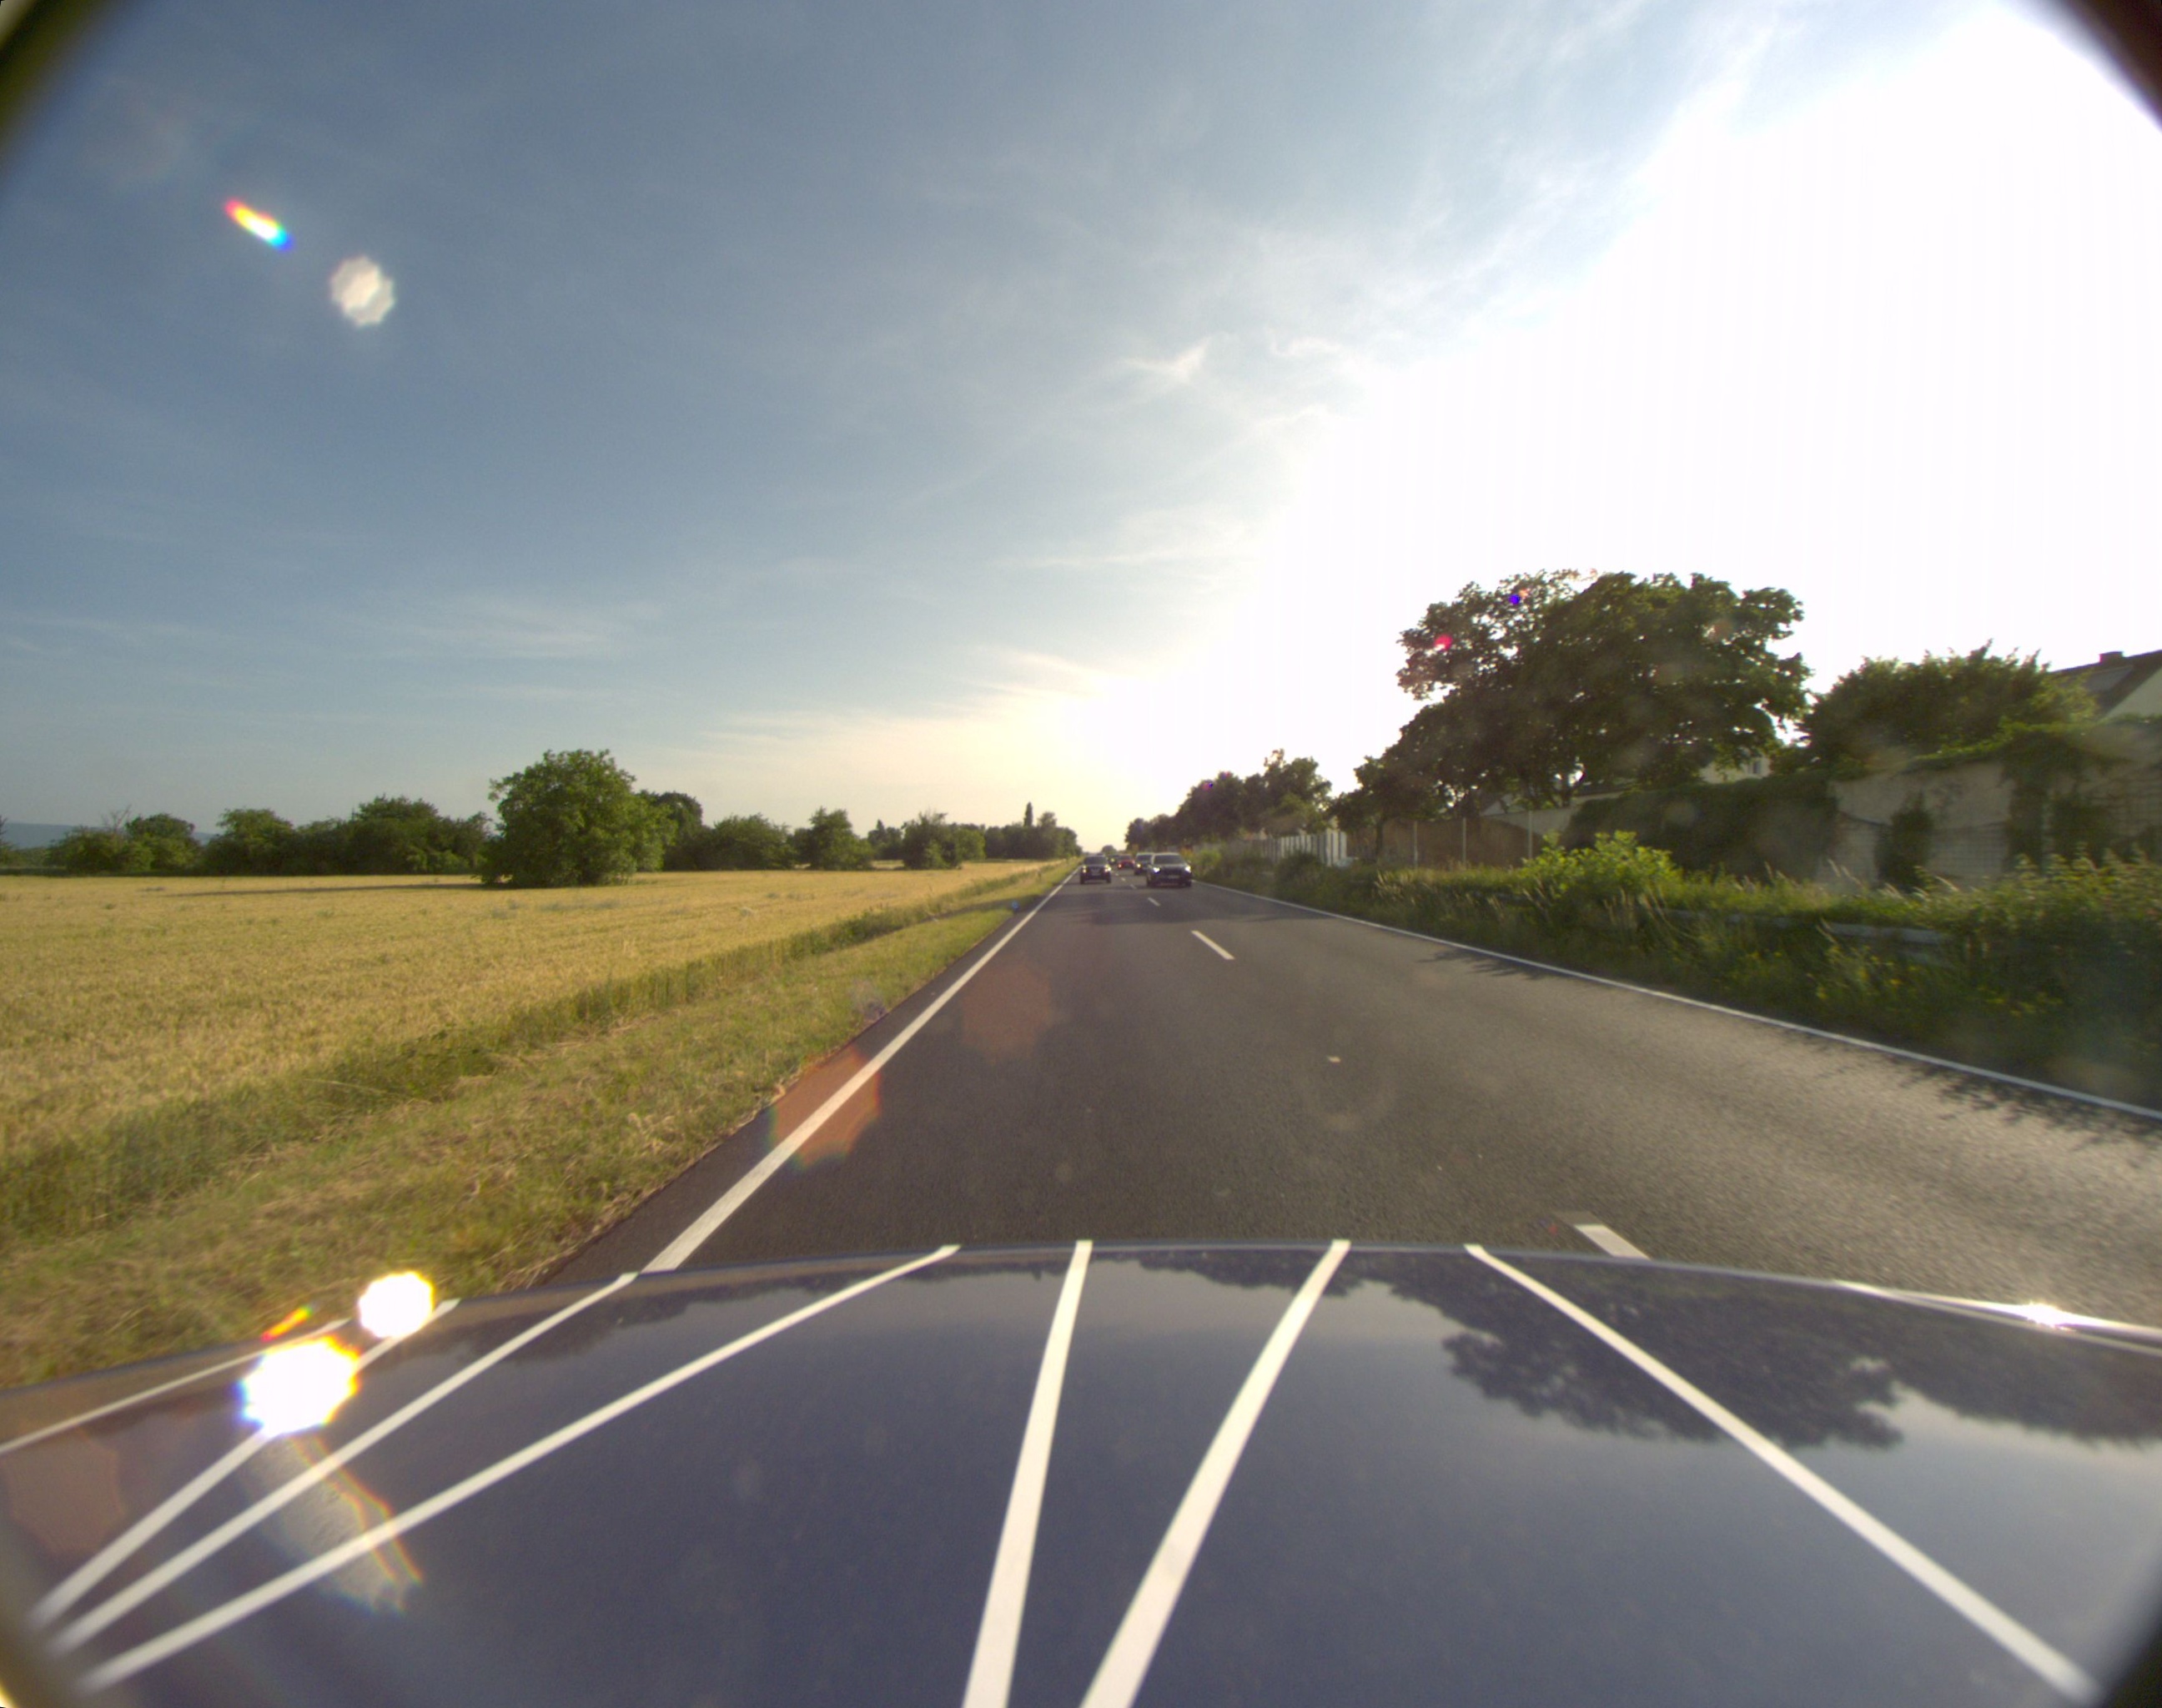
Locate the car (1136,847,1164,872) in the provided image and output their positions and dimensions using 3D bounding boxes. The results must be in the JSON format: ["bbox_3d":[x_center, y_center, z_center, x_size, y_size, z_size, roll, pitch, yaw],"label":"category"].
[{"bbox_3d":[5.193,0.394,57.406,1.822,1.724,4.000,-2,1,2],"label":"car"}]

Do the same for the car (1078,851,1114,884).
[{"bbox_3d":[0.837,0.703,42.178,1.822,1.661,4.000,-2,1,1],"label":"car"}]

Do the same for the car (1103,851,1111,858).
[{"bbox_3d":[6.709,0.112,193.356,1.854,1.641,3.999,-2,1,1],"label":"car"}]

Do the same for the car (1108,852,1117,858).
[{"bbox_3d":[7.119,0.218,172.208,1.693,1.397,4.000,-2,1,1],"label":"car"}]

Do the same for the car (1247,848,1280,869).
[{"bbox_3d":[16.119,0.378,67.270,1.942,1.718,3.999,-2,1,1],"label":"car"}]

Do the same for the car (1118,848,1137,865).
[{"bbox_3d":[4.924,0.271,80.290,1.822,1.661,4.000,-2,1,2],"label":"car"}]

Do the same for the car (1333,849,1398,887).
[{"bbox_3d":[15.171,0.715,40.791,1.839,1.844,4.365,-2,1,0],"label":"car"}]

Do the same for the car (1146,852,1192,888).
[{"bbox_3d":[4.191,0.717,36.690,1.821,1.516,4.246,-2,1,2],"label":"car"}]

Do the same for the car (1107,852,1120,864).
[{"bbox_3d":[4.564,0.543,107.616,1.700,1.456,3.646,-2,1,1],"label":"car"}]
